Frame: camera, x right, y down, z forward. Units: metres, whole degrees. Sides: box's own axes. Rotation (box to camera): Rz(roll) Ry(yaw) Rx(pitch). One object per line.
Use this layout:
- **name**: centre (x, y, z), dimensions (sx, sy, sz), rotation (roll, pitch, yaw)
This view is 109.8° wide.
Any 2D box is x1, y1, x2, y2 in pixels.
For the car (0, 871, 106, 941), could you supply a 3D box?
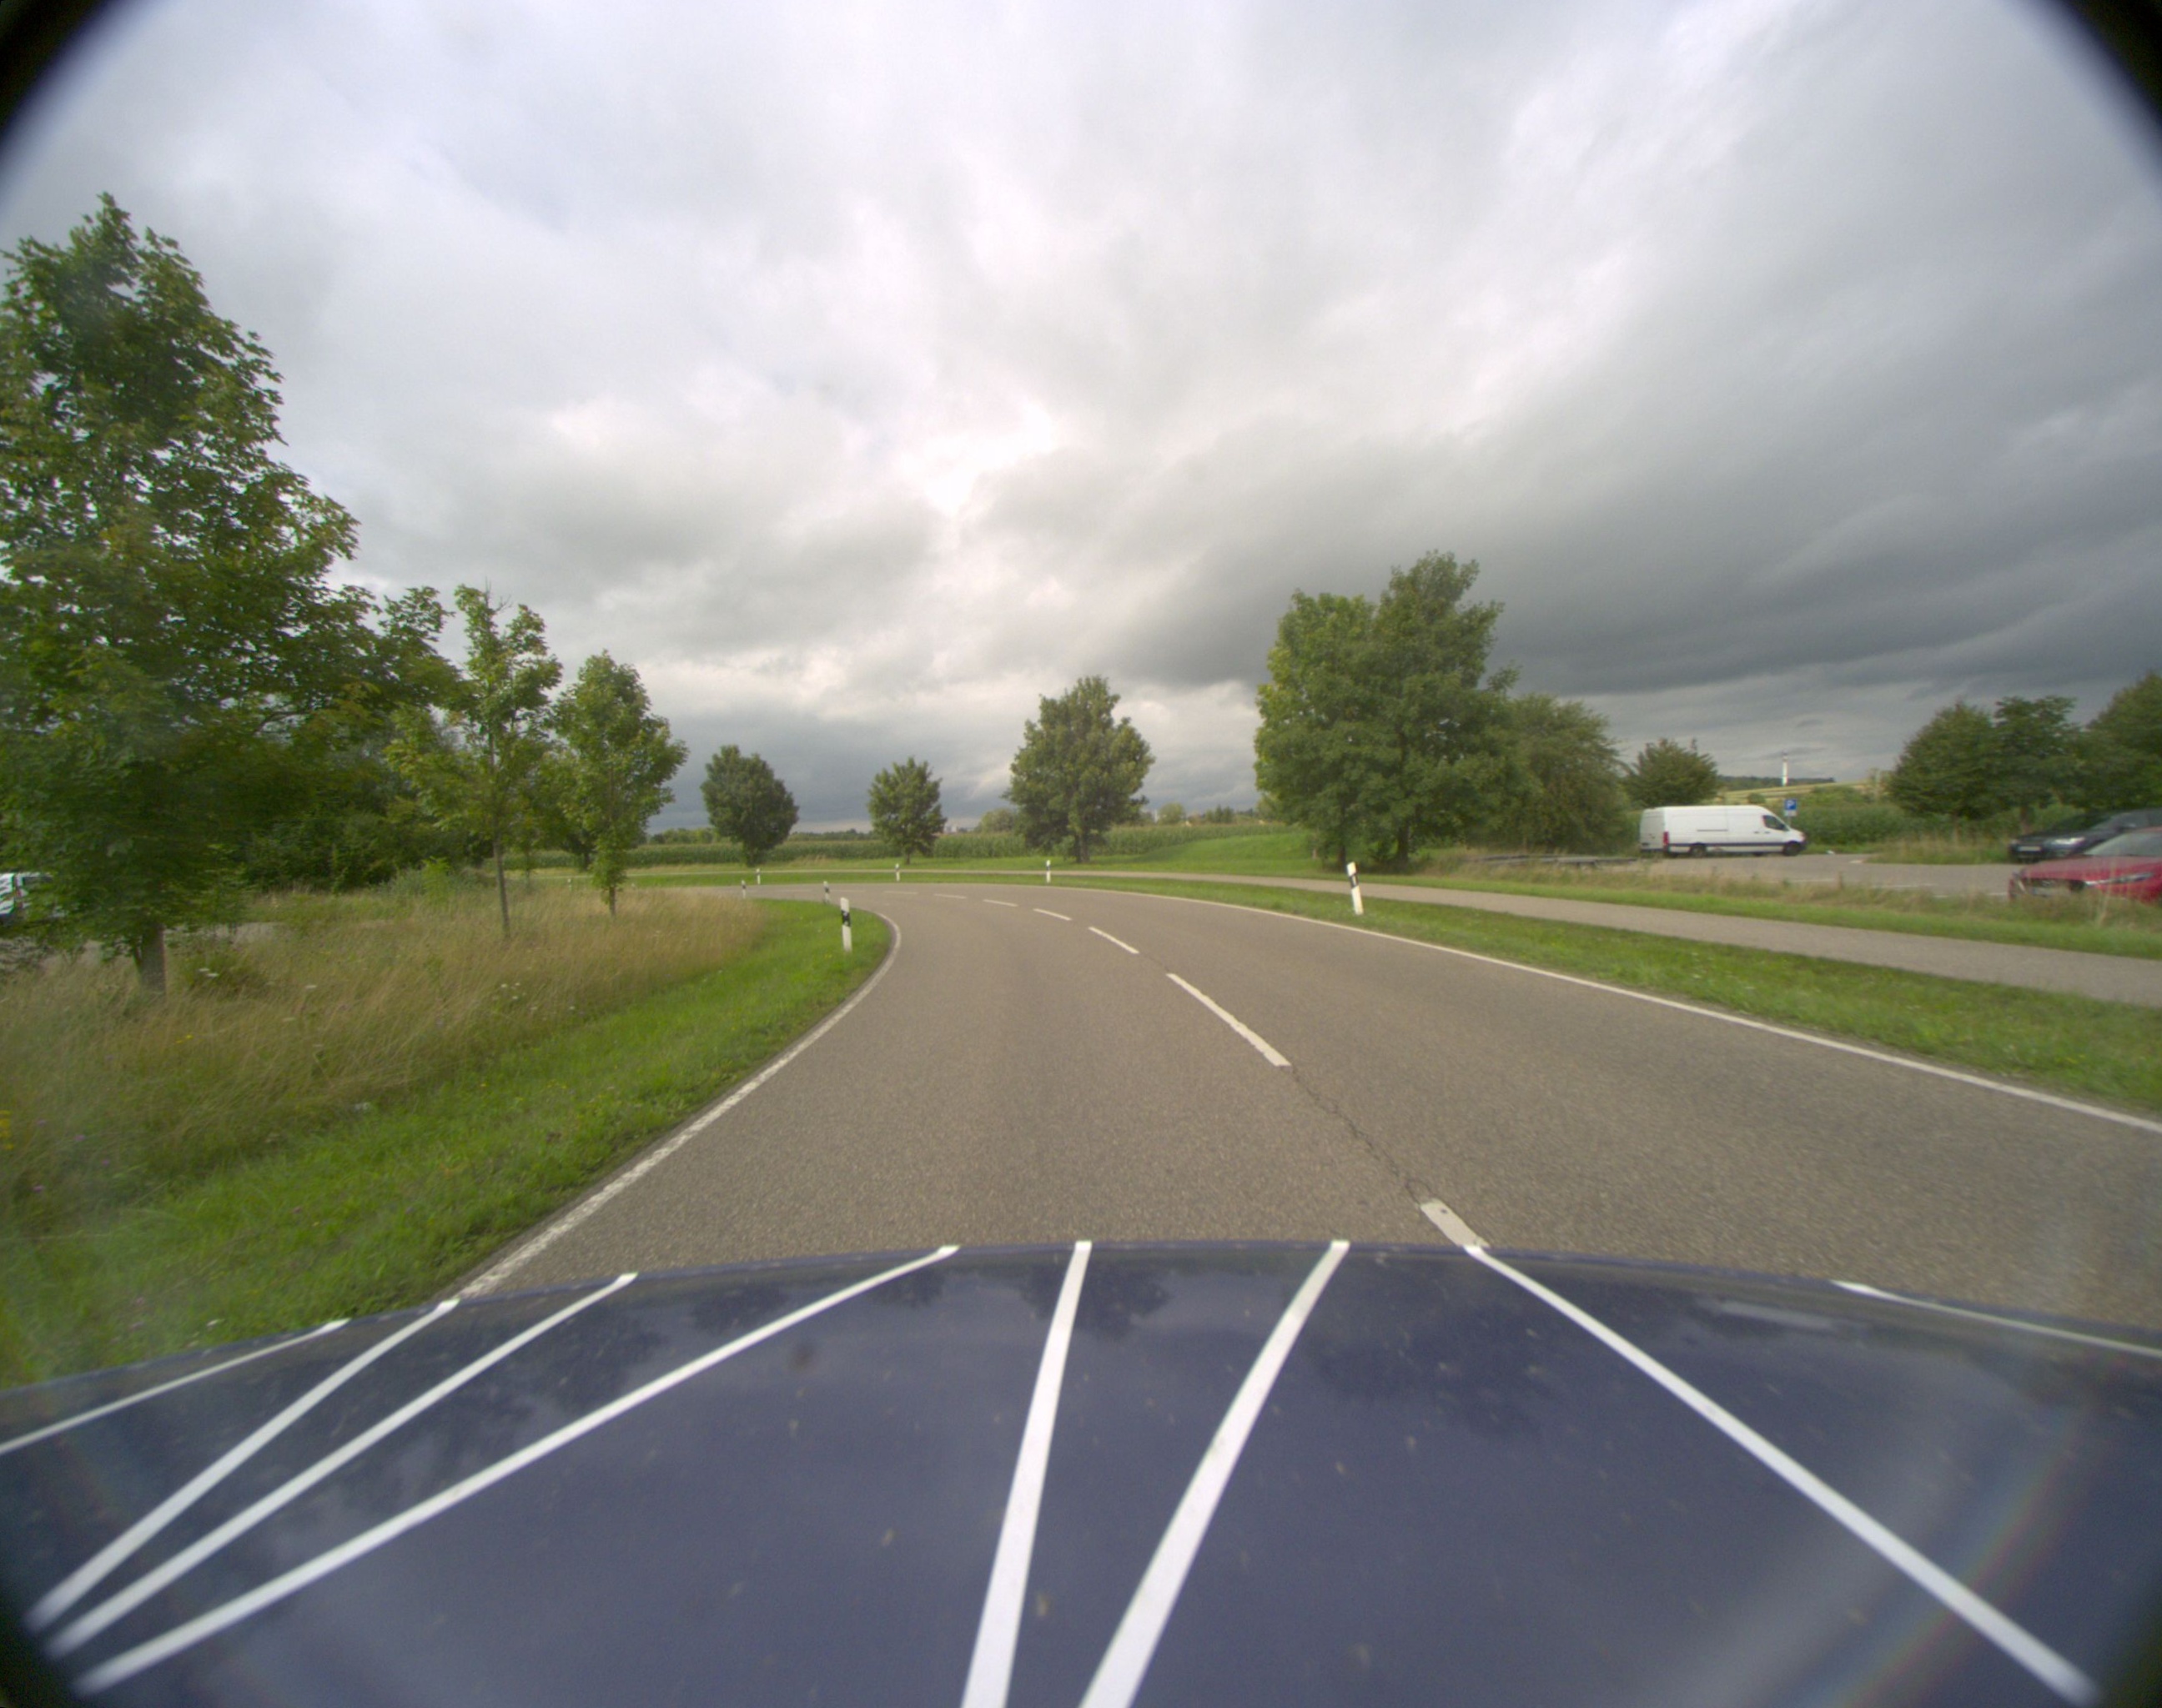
- **car**: centre (-31.809, 1.533, 22.007), dimensions (4.000, 1.849, 1.998), rotation (-2, 2, -10)

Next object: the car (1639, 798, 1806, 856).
- **car**: centre (31.814, -1.340, 37.831), dimensions (6.329, 2.604, 2.201), rotation (-2, 2, 3)

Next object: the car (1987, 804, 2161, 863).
- **car**: centre (29.115, -0.603, 21.827), dimensions (3.997, 1.516, 1.793), rotation (-2, 1, 1)

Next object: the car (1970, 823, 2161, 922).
- **car**: centre (17.649, 0.226, 12.238), dimensions (4.374, 1.409, 1.813), rotation (-2, 1, 3)
